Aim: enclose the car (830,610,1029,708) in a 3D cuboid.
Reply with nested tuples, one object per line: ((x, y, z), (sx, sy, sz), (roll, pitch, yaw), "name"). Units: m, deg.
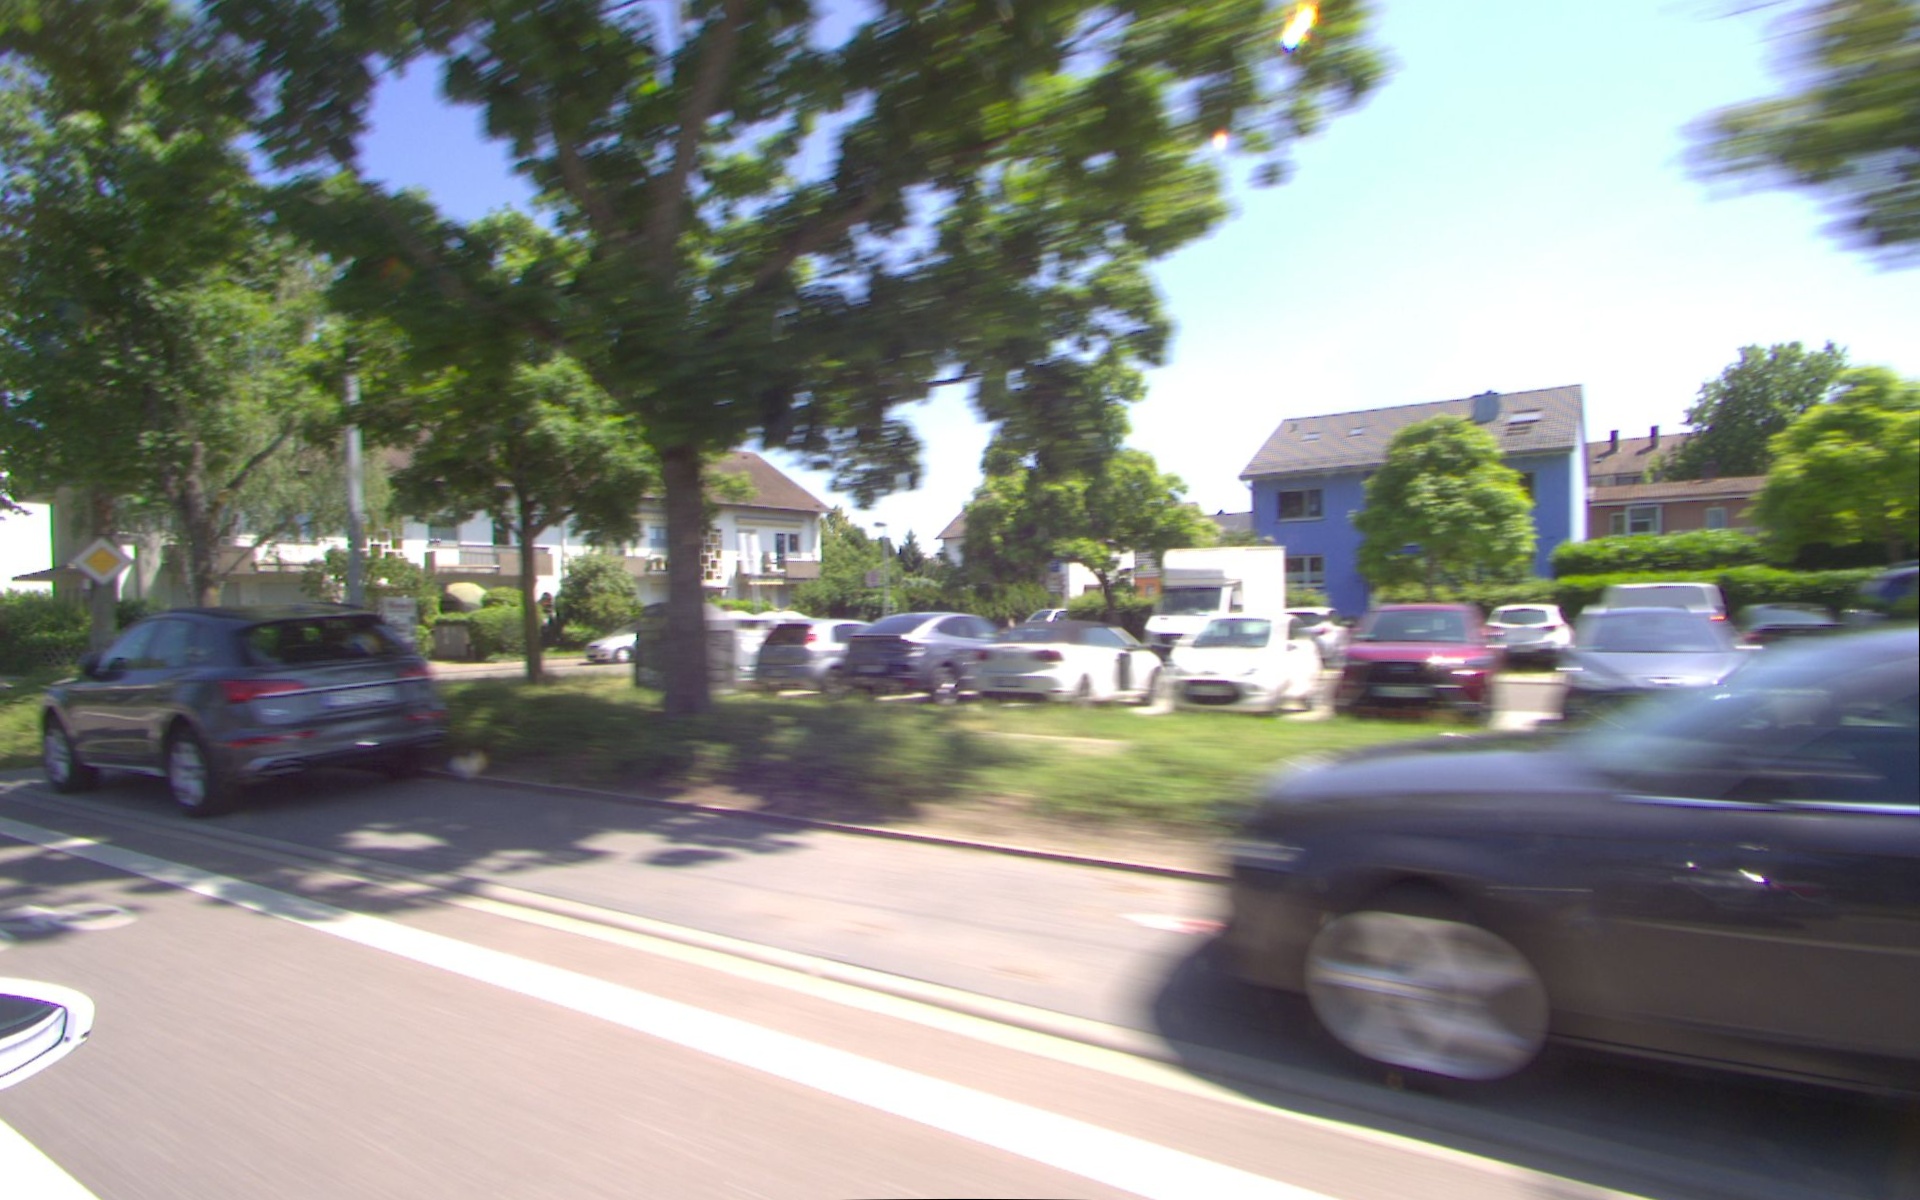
((-0.411, 0.990, 17.597), (1.743, 1.508, 3.857), (-1, -2, 30), "car")

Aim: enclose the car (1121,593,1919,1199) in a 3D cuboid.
((2.996, 0.731, 3.058), (4.638, 1.438, 1.708), (-1, 2, 30), "car")

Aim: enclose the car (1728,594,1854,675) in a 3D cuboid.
((17.008, 0.655, 20.645), (1.659, 1.448, 3.325), (-1, 1, 34), "car")

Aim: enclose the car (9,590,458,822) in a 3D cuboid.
((-6.872, 0.837, 9.324), (4.641, 1.655, 1.708), (-2, 2, 32), "car")

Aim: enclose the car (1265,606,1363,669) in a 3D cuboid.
((9.375, 0.946, 26.416), (1.659, 1.448, 3.325), (-1, 1, 34), "car")

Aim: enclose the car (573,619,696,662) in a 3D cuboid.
((-11.297, 1.360, 34.925), (1.700, 1.363, 3.765), (0, 0, 39), "car")

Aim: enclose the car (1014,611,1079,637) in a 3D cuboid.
((4.726, 1.264, 54.380), (1.700, 1.363, 3.765), (0, 0, 39), "car")

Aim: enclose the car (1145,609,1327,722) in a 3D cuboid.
((4.119, 0.909, 14.627), (1.658, 1.446, 3.329), (-1, -2, 33), "car")

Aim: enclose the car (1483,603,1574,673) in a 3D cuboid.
((13.604, 0.852, 23.895), (1.659, 1.448, 3.325), (-1, 1, 34), "car")

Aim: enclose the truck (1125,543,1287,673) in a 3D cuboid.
((7.010, 0.113, 27.718), (2.389, 3.127, 6.932), (-1, 1, 31), "truck")

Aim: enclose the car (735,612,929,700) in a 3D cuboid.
((-2.345, 1.043, 19.287), (1.743, 1.508, 3.857), (-1, -2, 30), "car")

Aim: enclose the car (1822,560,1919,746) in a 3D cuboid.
((10.651, 0.545, 10.390), (1.927, 1.665, 4.684), (-1, -2, 33), "car")

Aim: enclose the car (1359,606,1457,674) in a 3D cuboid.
((11.150, 0.929, 24.822), (1.659, 1.448, 3.455), (-1, 1, 34), "car")

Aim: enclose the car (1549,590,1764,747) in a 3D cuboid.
((7.968, 0.741, 11.798), (1.744, 1.509, 4.017), (-1, -2, 30), "car")

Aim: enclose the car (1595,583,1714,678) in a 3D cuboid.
((15.071, 0.581, 21.908), (1.727, 1.832, 3.993), (-1, 1, 29), "car")

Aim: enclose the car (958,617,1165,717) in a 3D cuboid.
((1.738, 1.012, 15.981), (1.745, 1.375, 3.853), (-1, -2, 33), "car")

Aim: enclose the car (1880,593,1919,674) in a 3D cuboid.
((19.852, 0.625, 20.015), (1.659, 1.448, 3.325), (-1, 1, 34), "car")

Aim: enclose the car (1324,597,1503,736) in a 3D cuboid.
((6.055, 0.811, 13.124), (1.744, 1.509, 4.017), (-1, -2, 30), "car")

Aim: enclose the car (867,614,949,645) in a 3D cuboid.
((-2.339, 1.319, 45.711), (1.700, 1.363, 3.765), (0, 0, 39), "car")
